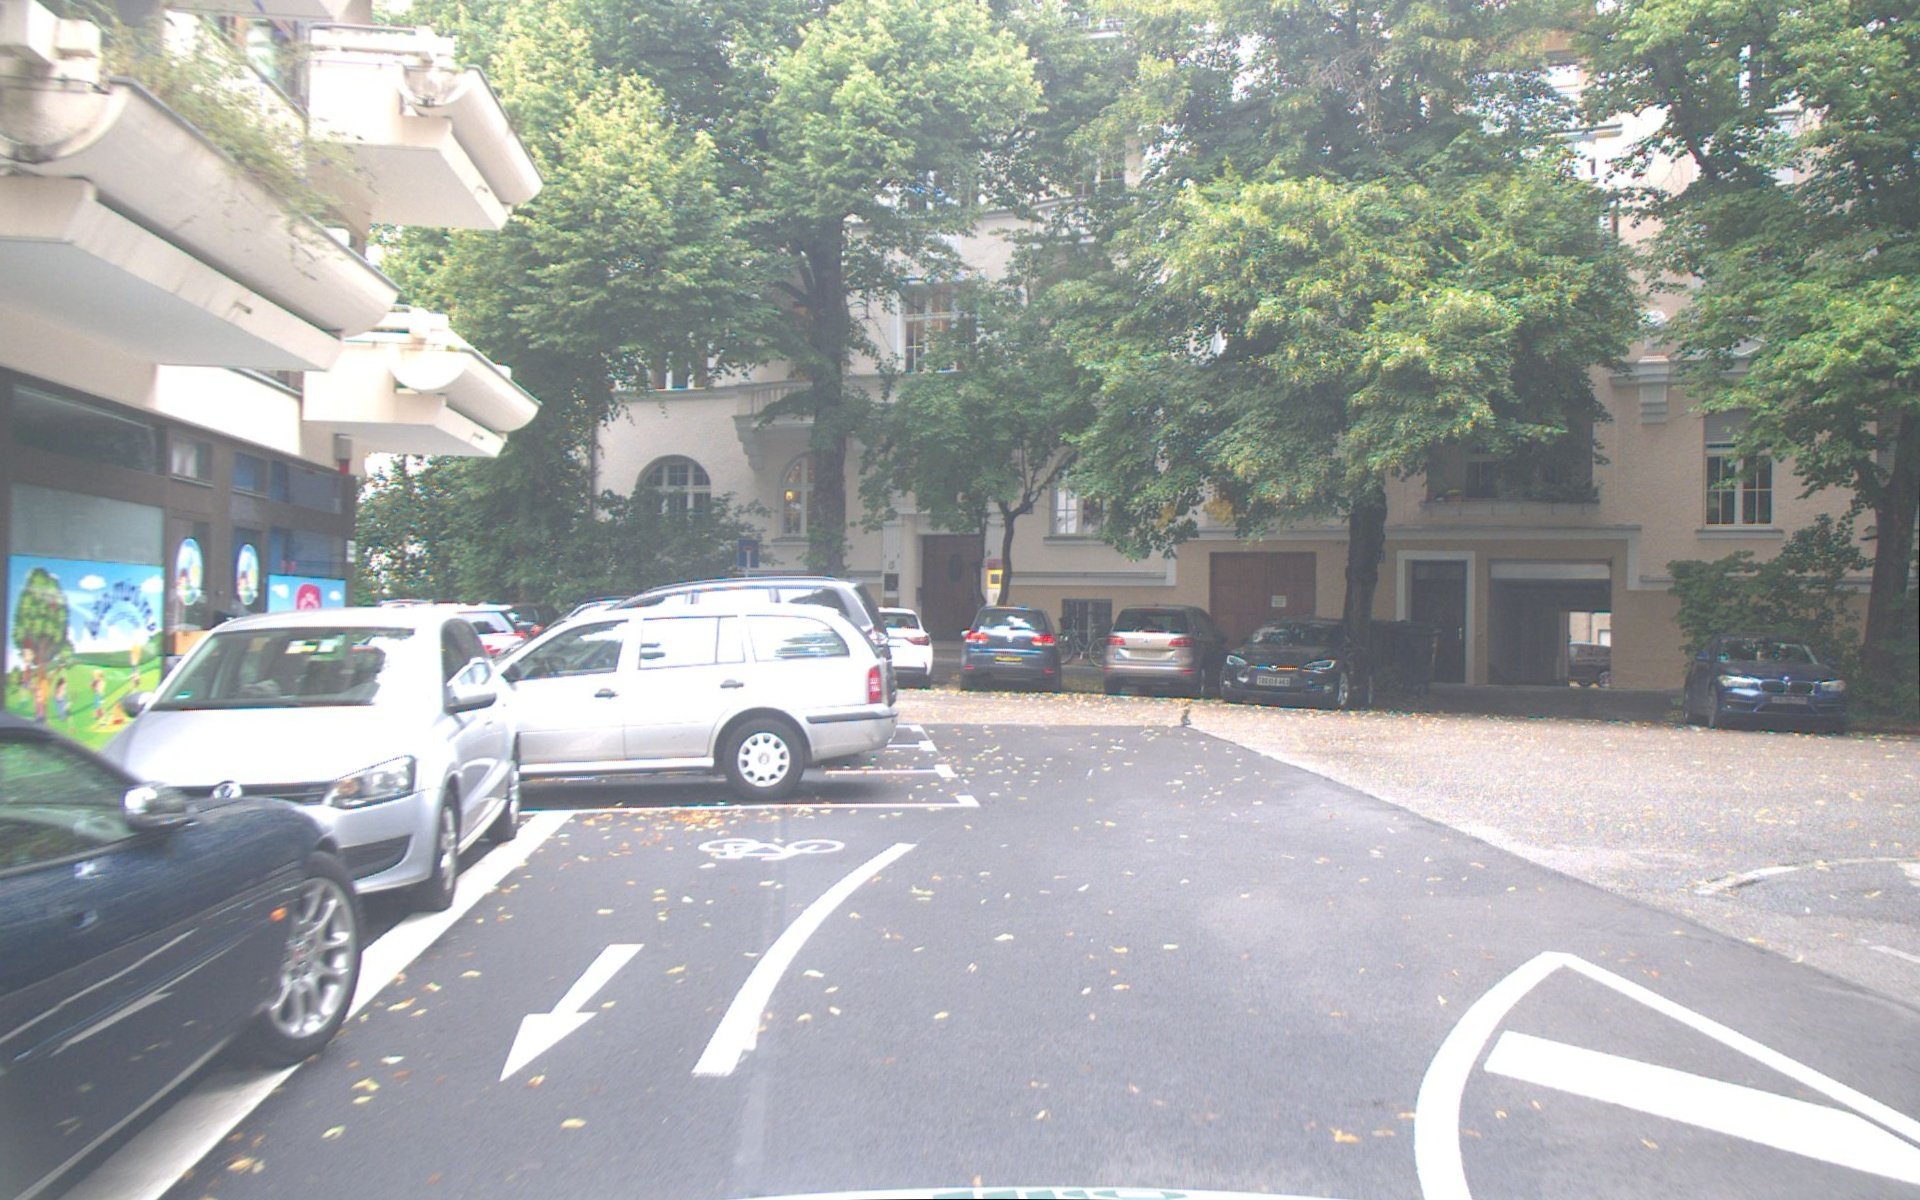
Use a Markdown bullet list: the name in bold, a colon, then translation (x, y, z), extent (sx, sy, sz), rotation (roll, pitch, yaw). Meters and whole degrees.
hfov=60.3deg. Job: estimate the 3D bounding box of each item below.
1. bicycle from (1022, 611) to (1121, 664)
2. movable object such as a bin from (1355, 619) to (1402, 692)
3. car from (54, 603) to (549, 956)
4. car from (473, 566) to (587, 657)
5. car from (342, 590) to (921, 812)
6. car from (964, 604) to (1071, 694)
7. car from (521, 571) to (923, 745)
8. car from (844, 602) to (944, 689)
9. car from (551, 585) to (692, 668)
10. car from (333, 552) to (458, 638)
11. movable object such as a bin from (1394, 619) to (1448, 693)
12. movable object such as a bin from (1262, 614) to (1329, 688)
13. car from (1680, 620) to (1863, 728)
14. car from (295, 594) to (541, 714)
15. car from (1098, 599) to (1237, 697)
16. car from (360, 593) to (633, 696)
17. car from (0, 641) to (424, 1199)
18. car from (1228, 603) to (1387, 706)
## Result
- **bicycle**: translation (2.562, 0.859, 37.998), extent (2.183, 1.135, 0.576), rotation (2, 0, 22)
- **movable object such as a bin**: translation (8.126, 1.059, 32.122), extent (0.698, 1.371, 1.373), rotation (1, 0, 21)
- **car**: translation (-3.257, 0.754, 8.931), extent (1.531, 1.446, 3.827), rotation (-1, 0, -7)
- **car**: translation (-8.339, 0.207, 32.386), extent (1.668, 1.629, 3.993), rotation (1, 0, -8)
- **car**: translation (-2.465, 0.726, 13.016), extent (4.147, 1.480, 1.719), rotation (-2, 0, -7)
- **car**: translation (0.991, 0.824, 29.667), extent (1.754, 1.456, 4.000), rotation (2, 0, 1)
- **car**: translation (-2.583, 0.587, 18.282), extent (4.141, 1.713, 1.899), rotation (-1, 0, -8)
- **car**: translation (-1.252, 0.795, 30.474), extent (1.684, 1.456, 3.997), rotation (2, 0, -4)
- **car**: translation (-6.453, 0.460, 31.226), extent (2.026, 1.425, 3.976), rotation (2, 0, -20)
- **car**: translation (-11.505, -0.098, 33.950), extent (1.668, 1.629, 3.993), rotation (1, 0, -8)
- **movable object such as a bin**: translation (8.793, 1.051, 31.503), extent (0.845, 1.328, 1.432), rotation (3, 0, 19)
- **movable object such as a bin**: translation (6.613, 0.994, 32.565), extent (1.126, 1.372, 1.157), rotation (2, 0, 19)
- **car**: translation (11.914, 1.064, 24.544), extent (1.800, 1.407, 4.344), rotation (1, -2, 18)
- **car**: translation (-7.932, 0.782, 24.219), extent (3.247, 1.660, 1.498), rotation (2, -1, -26)
- **car**: translation (3.755, 0.817, 29.365), extent (1.800, 1.557, 4.027), rotation (1, 0, 16)
- **car**: translation (-6.291, 0.602, 22.438), extent (3.402, 1.307, 1.520), rotation (2, 0, -23)
- **car**: translation (-2.649, 0.819, 3.827), extent (1.762, 1.300, 4.610), rotation (-1, 0, -6)
- **car**: translation (5.798, 0.931, 27.242), extent (1.670, 1.492, 4.286), rotation (2, -2, 24)
